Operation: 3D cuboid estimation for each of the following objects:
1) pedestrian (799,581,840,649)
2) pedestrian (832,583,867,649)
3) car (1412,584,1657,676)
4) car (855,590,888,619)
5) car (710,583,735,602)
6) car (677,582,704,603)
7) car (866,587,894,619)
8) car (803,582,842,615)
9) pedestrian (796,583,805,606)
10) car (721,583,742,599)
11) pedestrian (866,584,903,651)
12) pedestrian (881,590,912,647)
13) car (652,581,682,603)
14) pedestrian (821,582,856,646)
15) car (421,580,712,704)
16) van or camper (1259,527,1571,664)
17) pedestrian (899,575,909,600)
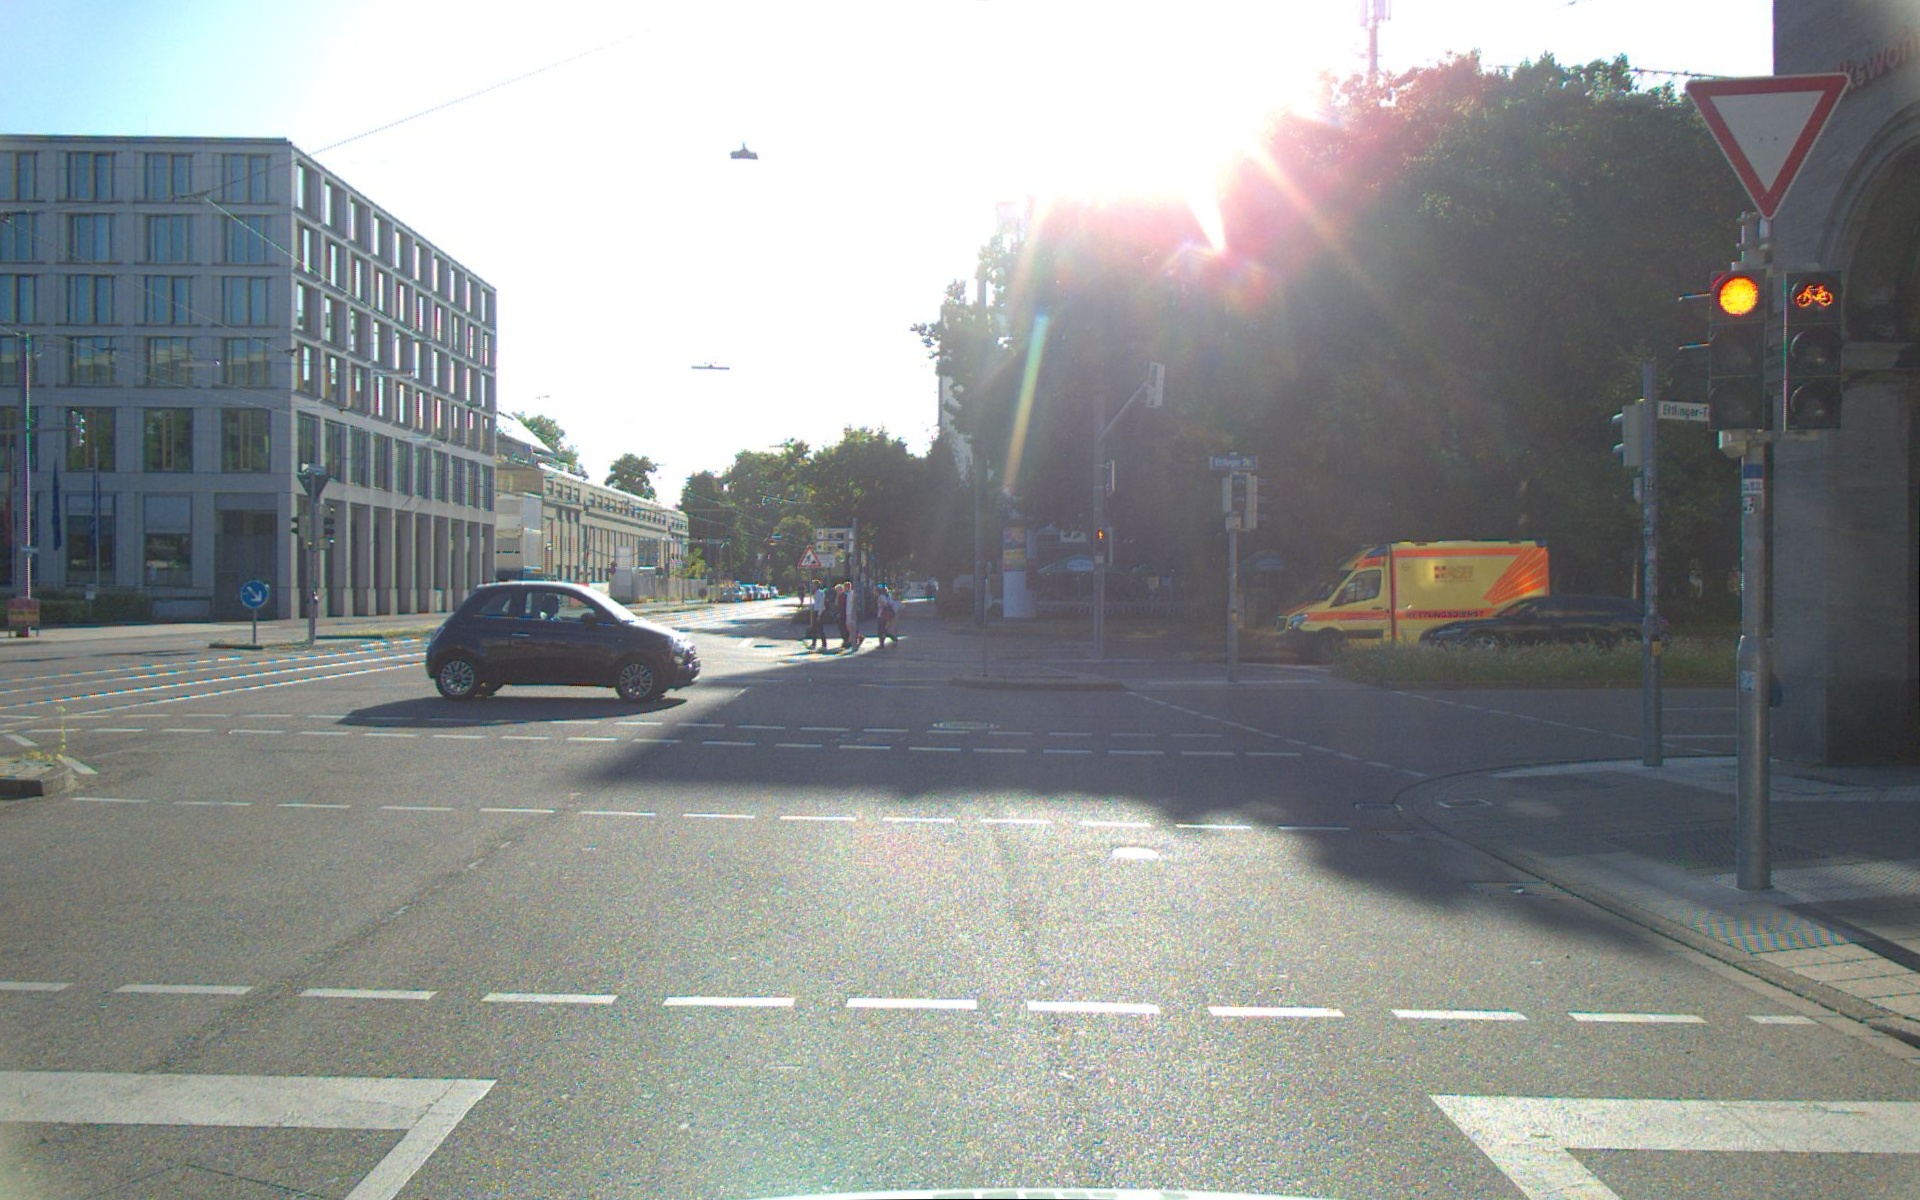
[{"bbox_3d":[-3.807,0.406,44.826,0.950,1.815,0.776,0,0,-17],"label":"pedestrian"},{"bbox_3d":[-3.106,0.447,46.431,0.834,1.815,0.776,0,0,-17],"label":"pedestrian"},{"bbox_3d":[11.441,0.596,33.110,4.226,1.676,1.887,2,-1,-1],"label":"car"},{"bbox_3d":[-4.920,0.280,91.926,1.650,1.527,3.508,2,-1,-1],"label":"car"},{"bbox_3d":[-22.337,-0.742,155.608,1.782,1.742,3.805,0,0,-1],"label":"car"},{"bbox_3d":[-23.433,-0.639,144.013,1.782,1.742,3.805,0,0,-1],"label":"car"},{"bbox_3d":[-5.190,0.229,107.535,1.650,1.996,3.508,2,-1,-1],"label":"car"},{"bbox_3d":[-6.788,-0.054,81.742,1.650,1.527,3.508,2,-1,-1],"label":"car"},{"bbox_3d":[-10.401,-0.363,108.110,0.513,1.510,0.437,2,-1,-2],"label":"pedestrian"},{"bbox_3d":[-22.043,-0.869,159.839,1.577,1.525,3.805,0,0,-1],"label":"car"},{"bbox_3d":[-2.082,0.466,45.596,0.834,1.815,0.776,0,0,-17],"label":"pedestrian"},{"bbox_3d":[-1.793,0.509,46.420,0.750,1.586,0.585,0,0,-17],"label":"pedestrian"},{"bbox_3d":[-23.532,-0.607,133.102,1.782,1.742,3.805,0,0,-1],"label":"car"},{"bbox_3d":[-3.464,0.396,47.176,0.834,1.815,0.776,0,0,-17],"label":"pedestrian"},{"bbox_3d":[-5.082,0.531,21.656,3.460,1.532,1.521,1,0,-3],"label":"car"},{"bbox_3d":[10.531,-0.100,38.861,6.568,2.912,2.912,2,-1,3],"label":"van or camper"},{"bbox_3d":[-8.276,-1.907,245.827,1.373,3.660,1.567,2,-1,-1],"label":"pedestrian"}]
